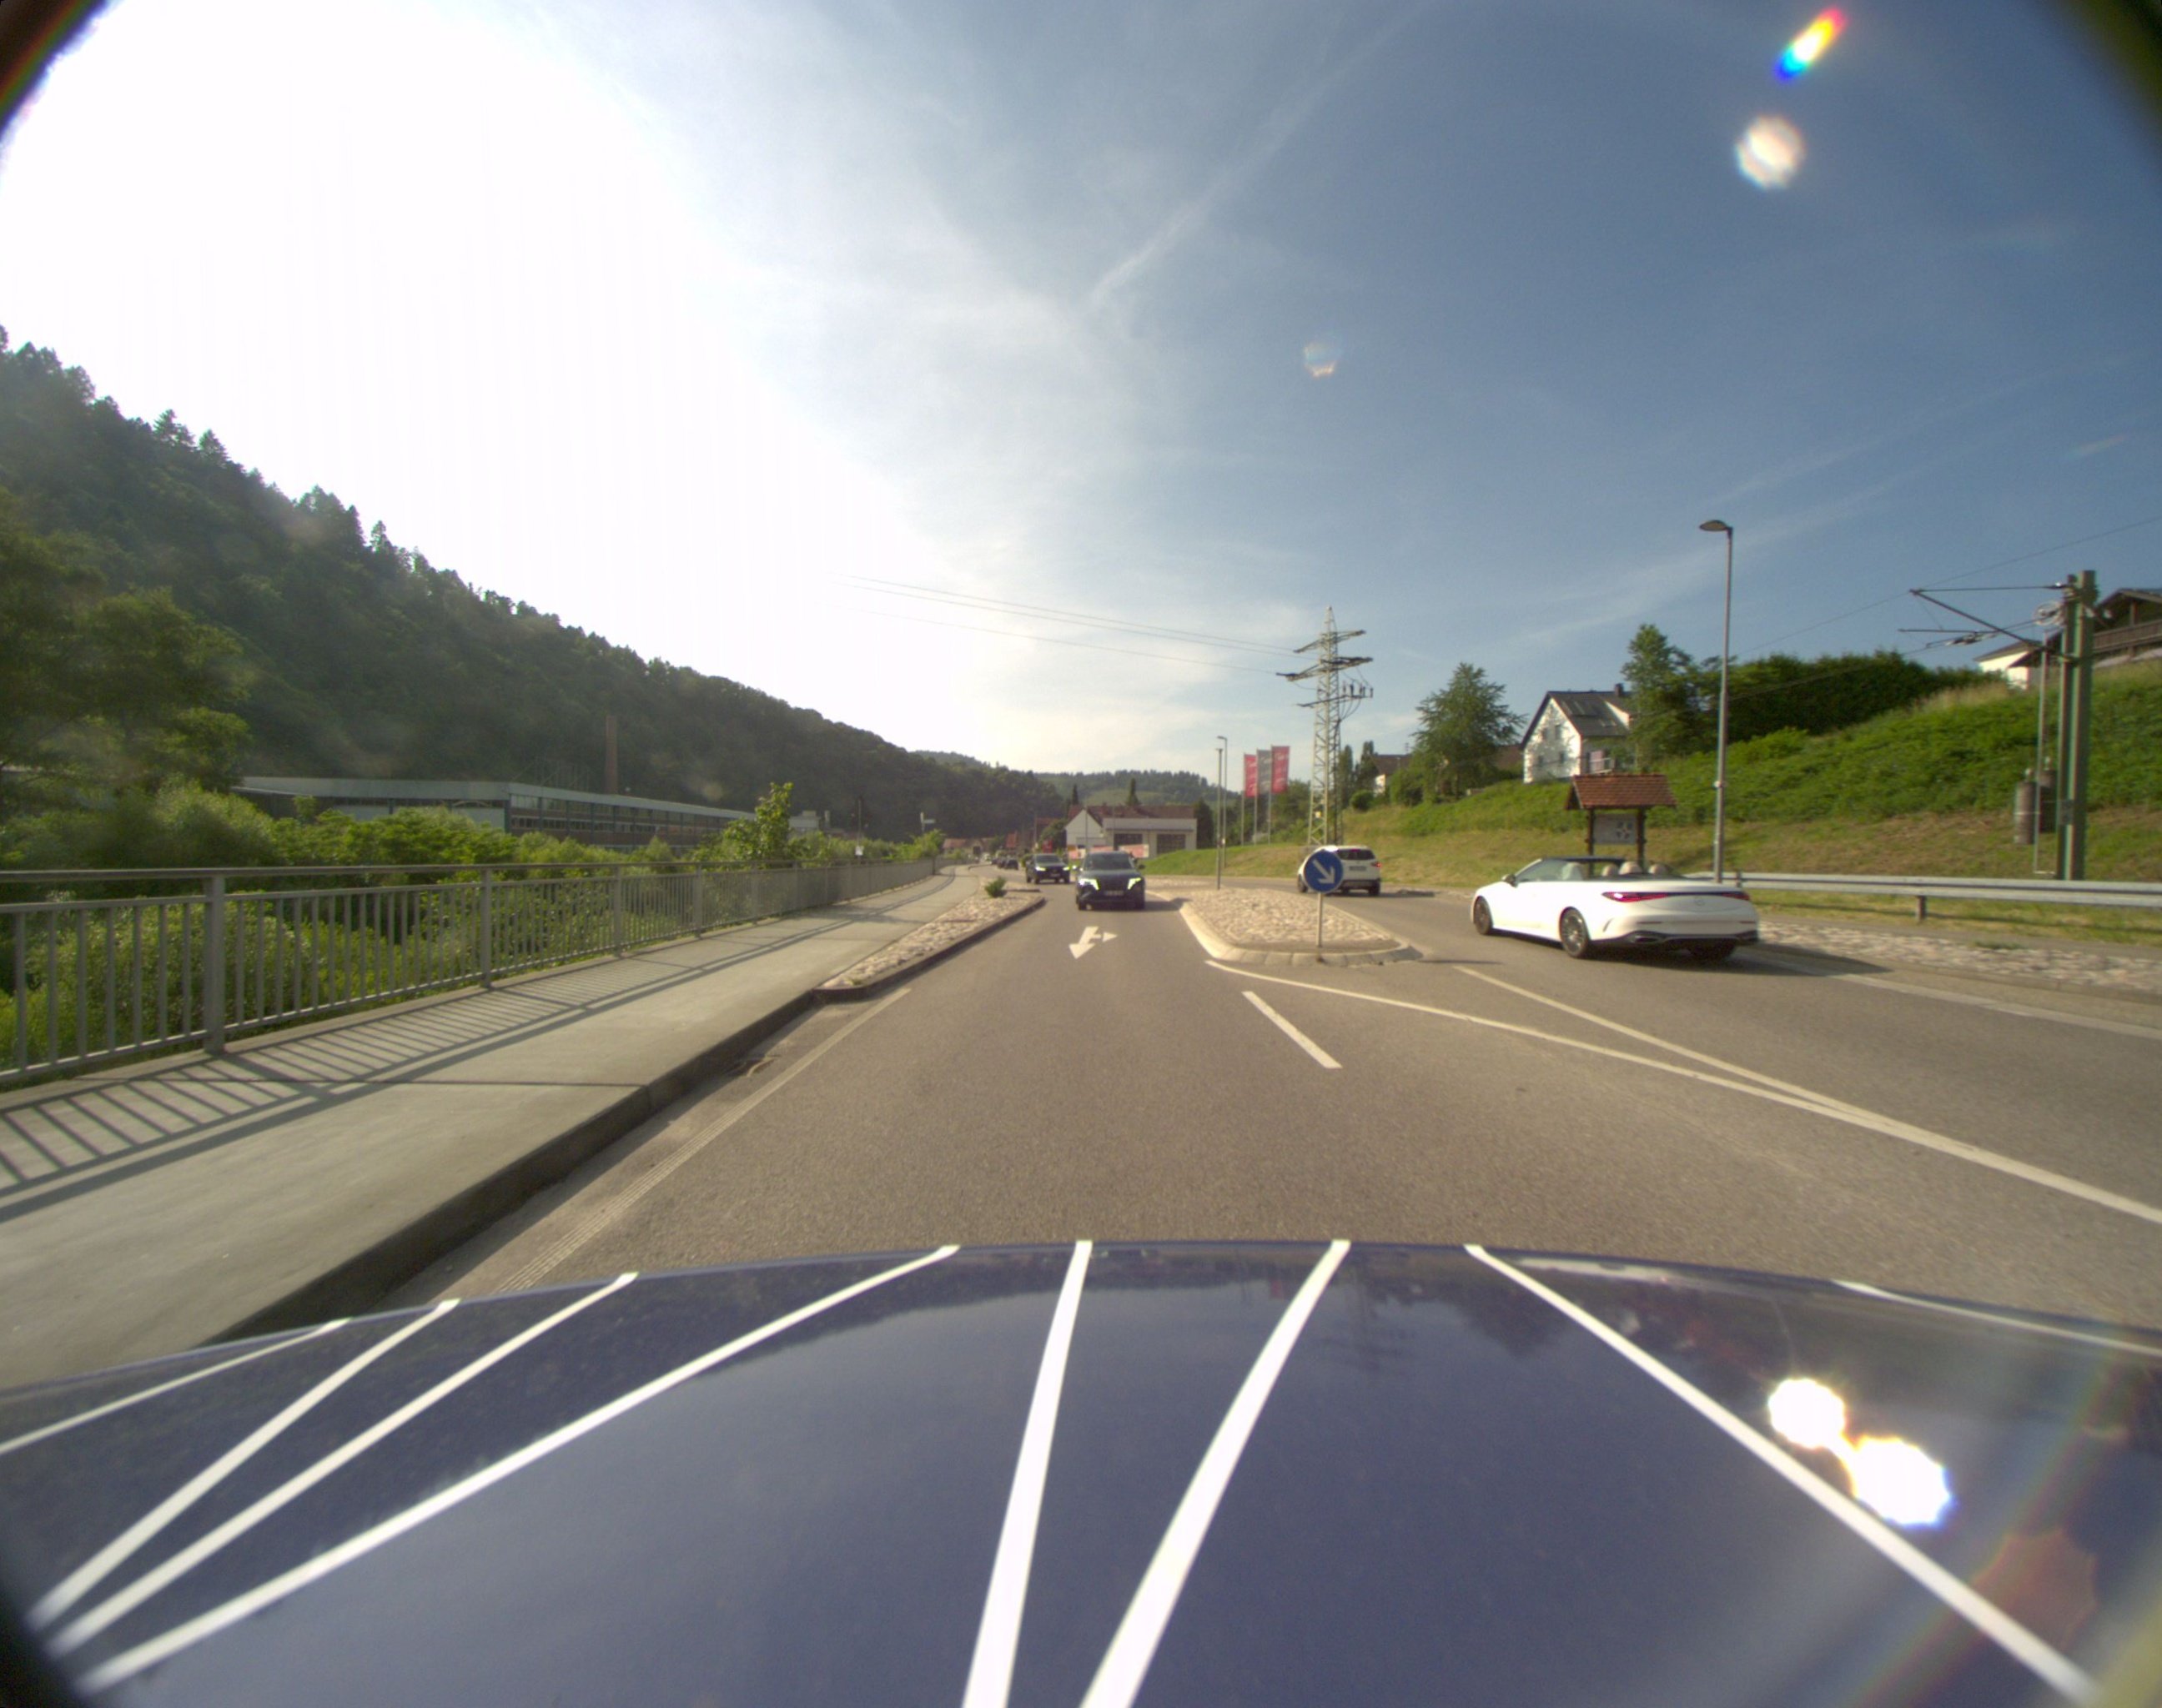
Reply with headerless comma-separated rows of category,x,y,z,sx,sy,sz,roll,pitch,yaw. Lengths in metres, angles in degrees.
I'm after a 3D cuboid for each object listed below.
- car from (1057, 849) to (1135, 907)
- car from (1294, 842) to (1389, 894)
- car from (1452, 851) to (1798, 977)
car,0.386,0.700,24.026,1.650,1.639,3.996,-2,0,-11
car,8.638,0.415,25.511,1.768,1.551,3.999,-1,1,0
car,7.401,0.680,11.115,1.786,1.392,4.827,-1,1,3
